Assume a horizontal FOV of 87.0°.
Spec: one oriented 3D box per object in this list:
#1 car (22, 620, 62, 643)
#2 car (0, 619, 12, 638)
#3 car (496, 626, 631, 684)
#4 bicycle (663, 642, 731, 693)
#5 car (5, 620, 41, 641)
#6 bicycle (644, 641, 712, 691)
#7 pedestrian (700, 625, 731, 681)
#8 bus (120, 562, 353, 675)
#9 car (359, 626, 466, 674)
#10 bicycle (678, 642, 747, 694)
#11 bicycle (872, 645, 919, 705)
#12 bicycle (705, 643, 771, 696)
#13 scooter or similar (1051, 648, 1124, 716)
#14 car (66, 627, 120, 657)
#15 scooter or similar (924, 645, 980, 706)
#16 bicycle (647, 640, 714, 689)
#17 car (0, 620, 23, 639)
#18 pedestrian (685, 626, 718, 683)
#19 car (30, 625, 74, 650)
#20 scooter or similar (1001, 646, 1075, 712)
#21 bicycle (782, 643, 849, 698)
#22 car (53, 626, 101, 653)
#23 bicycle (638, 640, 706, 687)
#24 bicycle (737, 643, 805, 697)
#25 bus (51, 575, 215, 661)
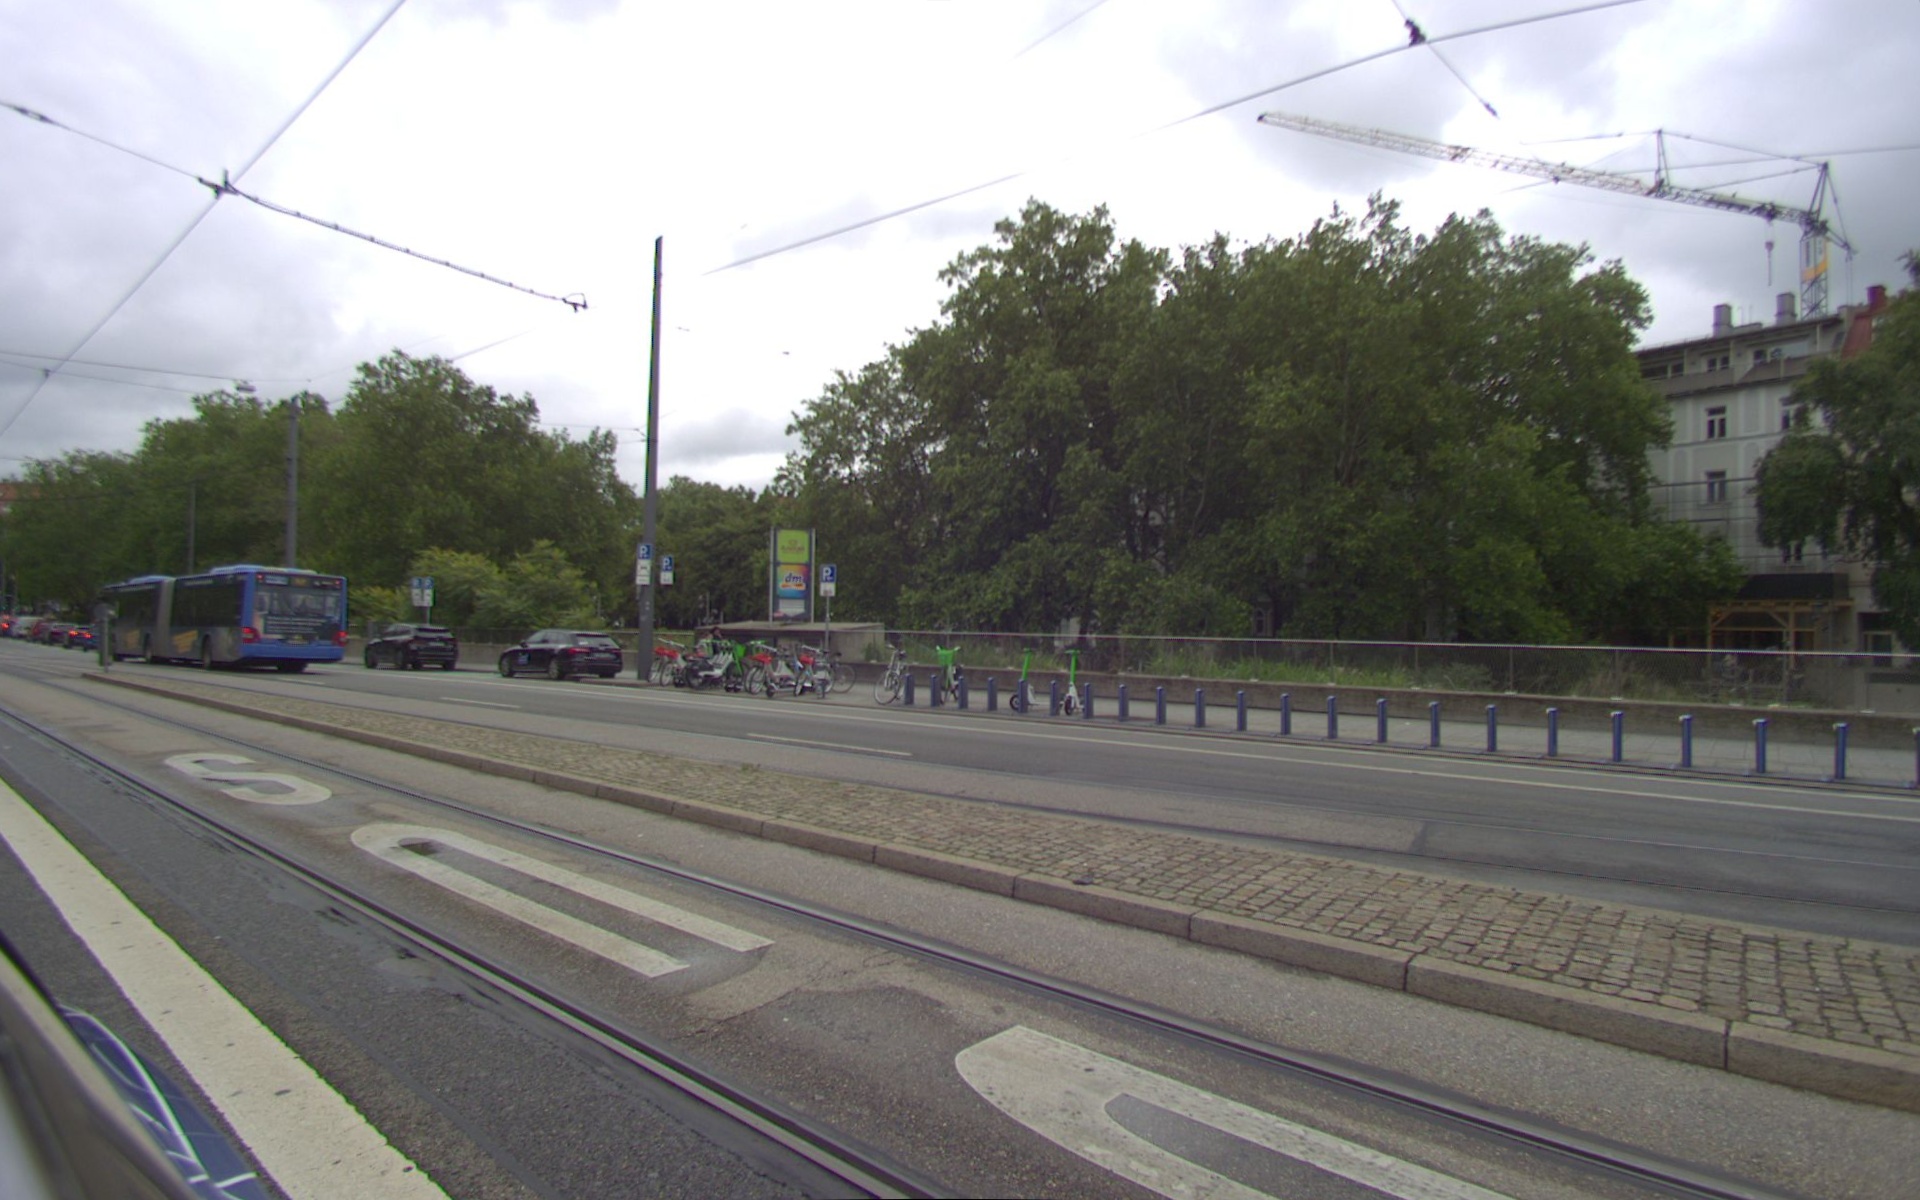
[{"bbox_3d":[-69.985,2.404,77.164,3.998,1.697,1.786,-1,-2,41],"label":"car"},{"bbox_3d":[-89.525,2.655,93.961,3.998,1.697,1.786,-1,-2,41],"label":"car"},{"bbox_3d":[-11.459,1.536,29.129,4.231,1.537,1.840,-1,-3,41],"label":"car"},{"bbox_3d":[-6.361,1.608,24.573,0.504,1.181,1.674,-1,-2,33],"label":"bicycle"},{"bbox_3d":[-78.016,2.509,84.238,3.998,1.697,1.786,-1,-2,41],"label":"car"},{"bbox_3d":[-6.935,1.615,24.975,0.504,1.181,1.673,-1,-2,34],"label":"bicycle"},{"bbox_3d":[-7.040,1.521,29.143,0.589,1.570,0.624,-1,-3,40],"label":"pedestrian"},{"bbox_3d":[-23.168,0.629,31.894,13.405,2.989,2.599,-1,-4,40],"label":"bus"},{"bbox_3d":[-19.275,1.709,35.556,4.100,1.582,1.973,-1,-2,41],"label":"car"},{"bbox_3d":[-5.902,1.602,24.211,0.560,1.181,1.675,-1,-2,31],"label":"bicycle"},{"bbox_3d":[-1.328,1.545,21.173,0.556,1.181,1.687,0,-2,11],"label":"bicycle"},{"bbox_3d":[-5.166,1.593,23.638,0.504,1.181,1.675,-1,-2,31],"label":"bicycle"},{"bbox_3d":[2.370,1.484,18.657,0.561,1.181,1.671,-1,-2,39],"label":"scooter or similar"},{"bbox_3d":[-50.079,2.418,58.414,3.998,1.655,1.786,-1,-2,41],"label":"car"},{"bbox_3d":[-0.144,1.529,20.890,0.558,1.181,1.681,0,-2,22],"label":"scooter or similar"},{"bbox_3d":[-7.085,1.617,25.717,0.505,1.181,1.672,-1,-2,37],"label":"bicycle"},{"bbox_3d":[-84.659,2.594,89.813,3.998,1.697,1.786,-1,-2,41],"label":"car"},{"bbox_3d":[-7.289,1.534,28.534,0.589,1.570,0.624,-1,-3,40],"label":"pedestrian"},{"bbox_3d":[-63.414,2.588,70.688,3.998,1.655,1.786,-1,-2,41],"label":"car"},{"bbox_3d":[1.520,1.495,19.483,0.561,1.181,1.671,-1,-2,39],"label":"scooter or similar"},{"bbox_3d":[-3.235,1.568,22.838,0.560,1.181,1.675,-1,-2,31],"label":"bicycle"},{"bbox_3d":[-56.655,2.501,64.906,3.998,1.655,1.786,-1,-2,41],"label":"car"},{"bbox_3d":[-7.430,1.621,26.192,0.561,1.181,1.671,-1,-2,38],"label":"bicycle"},{"bbox_3d":[-4.337,1.582,23.342,0.560,1.181,1.675,-1,-2,31],"label":"bicycle"},{"bbox_3d":[-33.212,0.756,40.356,12.835,2.989,2.599,-1,-4,40],"label":"bus"}]
